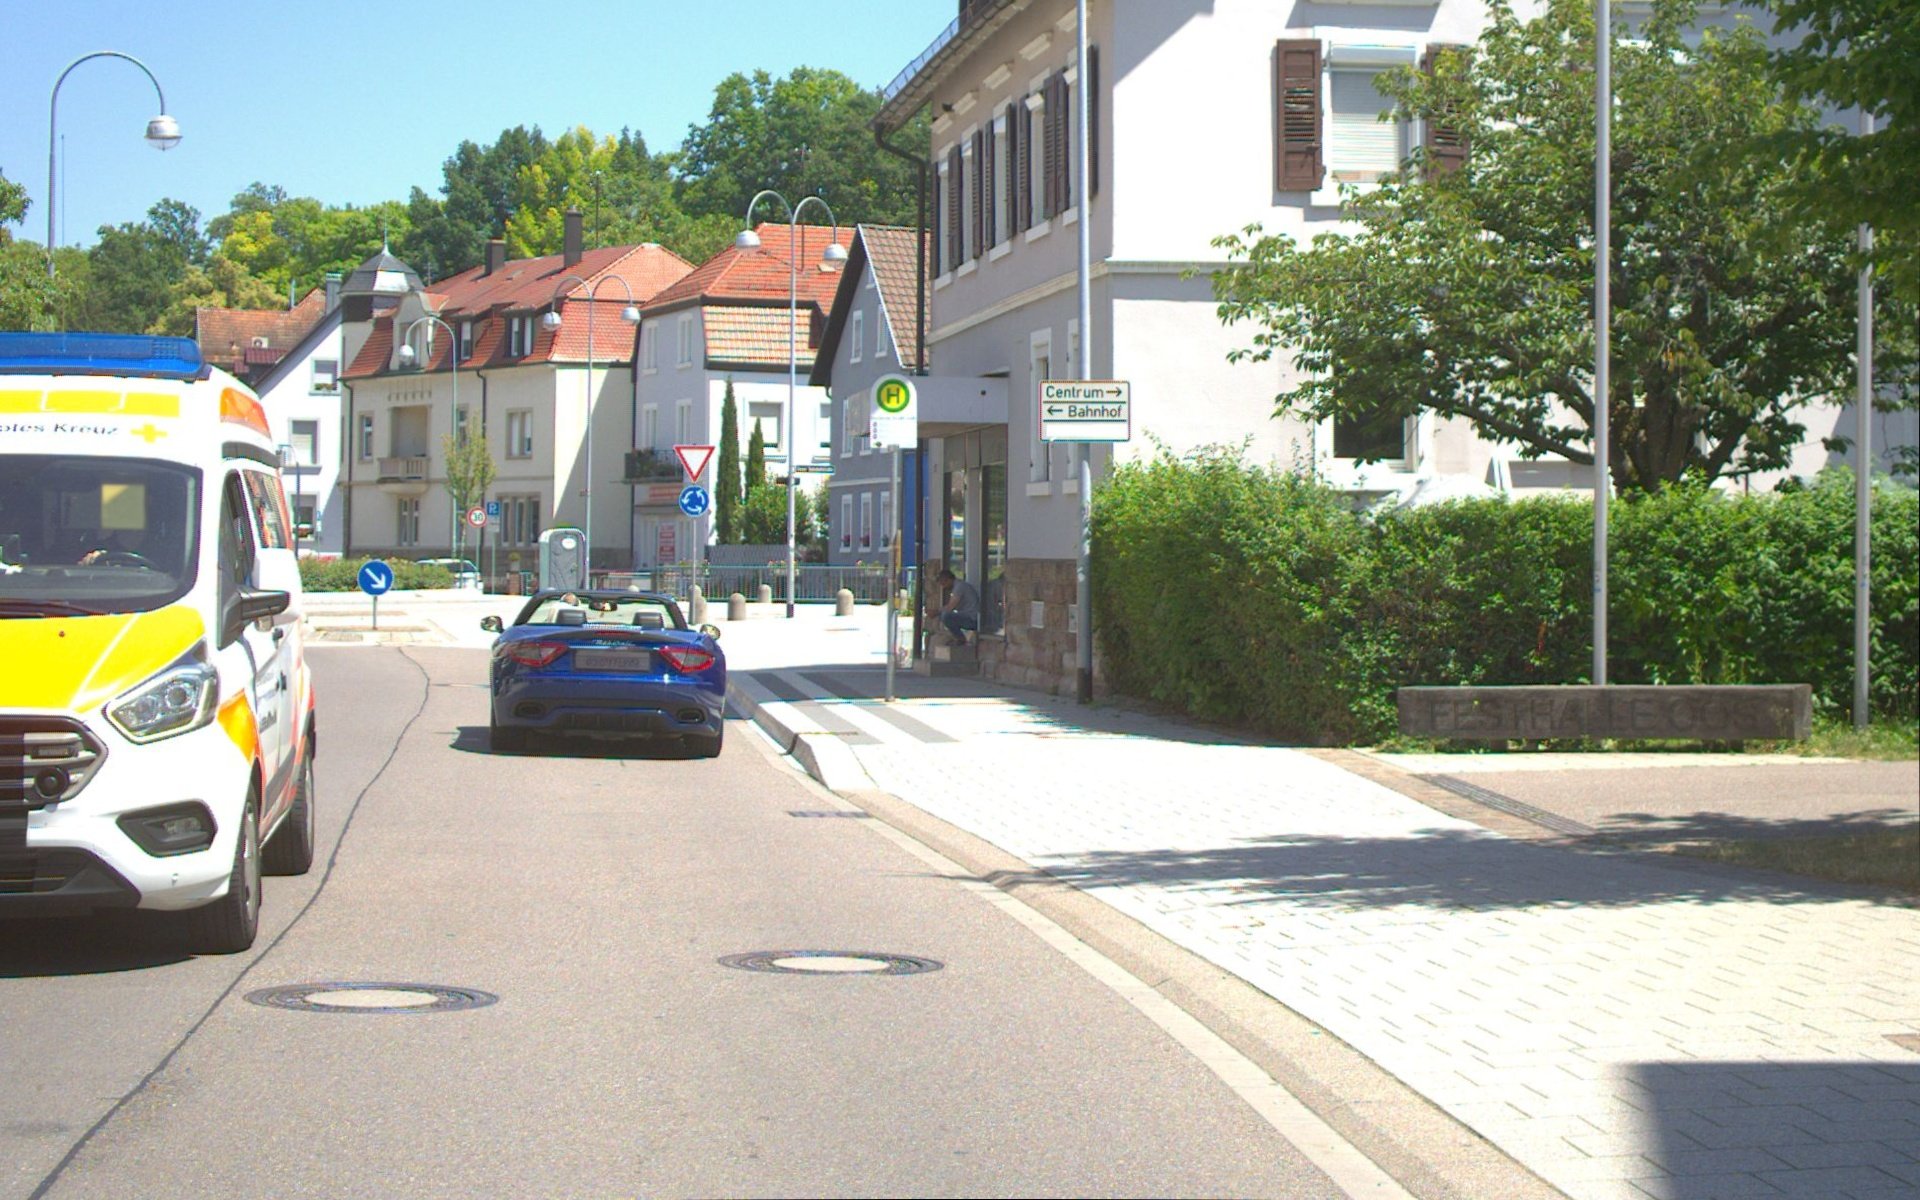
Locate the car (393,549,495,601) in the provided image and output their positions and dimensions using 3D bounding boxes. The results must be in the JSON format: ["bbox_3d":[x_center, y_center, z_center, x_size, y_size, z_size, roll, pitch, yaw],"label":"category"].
[{"bbox_3d":[-16.306,-0.773,108.474,1.918,1.607,4.148,0,0,-28],"label":"car"}]

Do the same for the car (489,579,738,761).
[{"bbox_3d":[-2.986,0.541,29.191,1.910,1.356,4.286,2,1,-7],"label":"car"}]

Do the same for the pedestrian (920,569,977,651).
[{"bbox_3d":[-0.148,0.116,42.538,0.590,0.996,0.724,-1,1,-9],"label":"pedestrian"}]

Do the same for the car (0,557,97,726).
[{"bbox_3d":[-9.639,0.329,33.545,1.915,1.476,4.338,3,0,-9],"label":"car"}]

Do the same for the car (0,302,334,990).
[{"bbox_3d":[-3.869,0.127,14.329,2.156,2.354,5.249,-1,1,-7],"label":"car"}]
